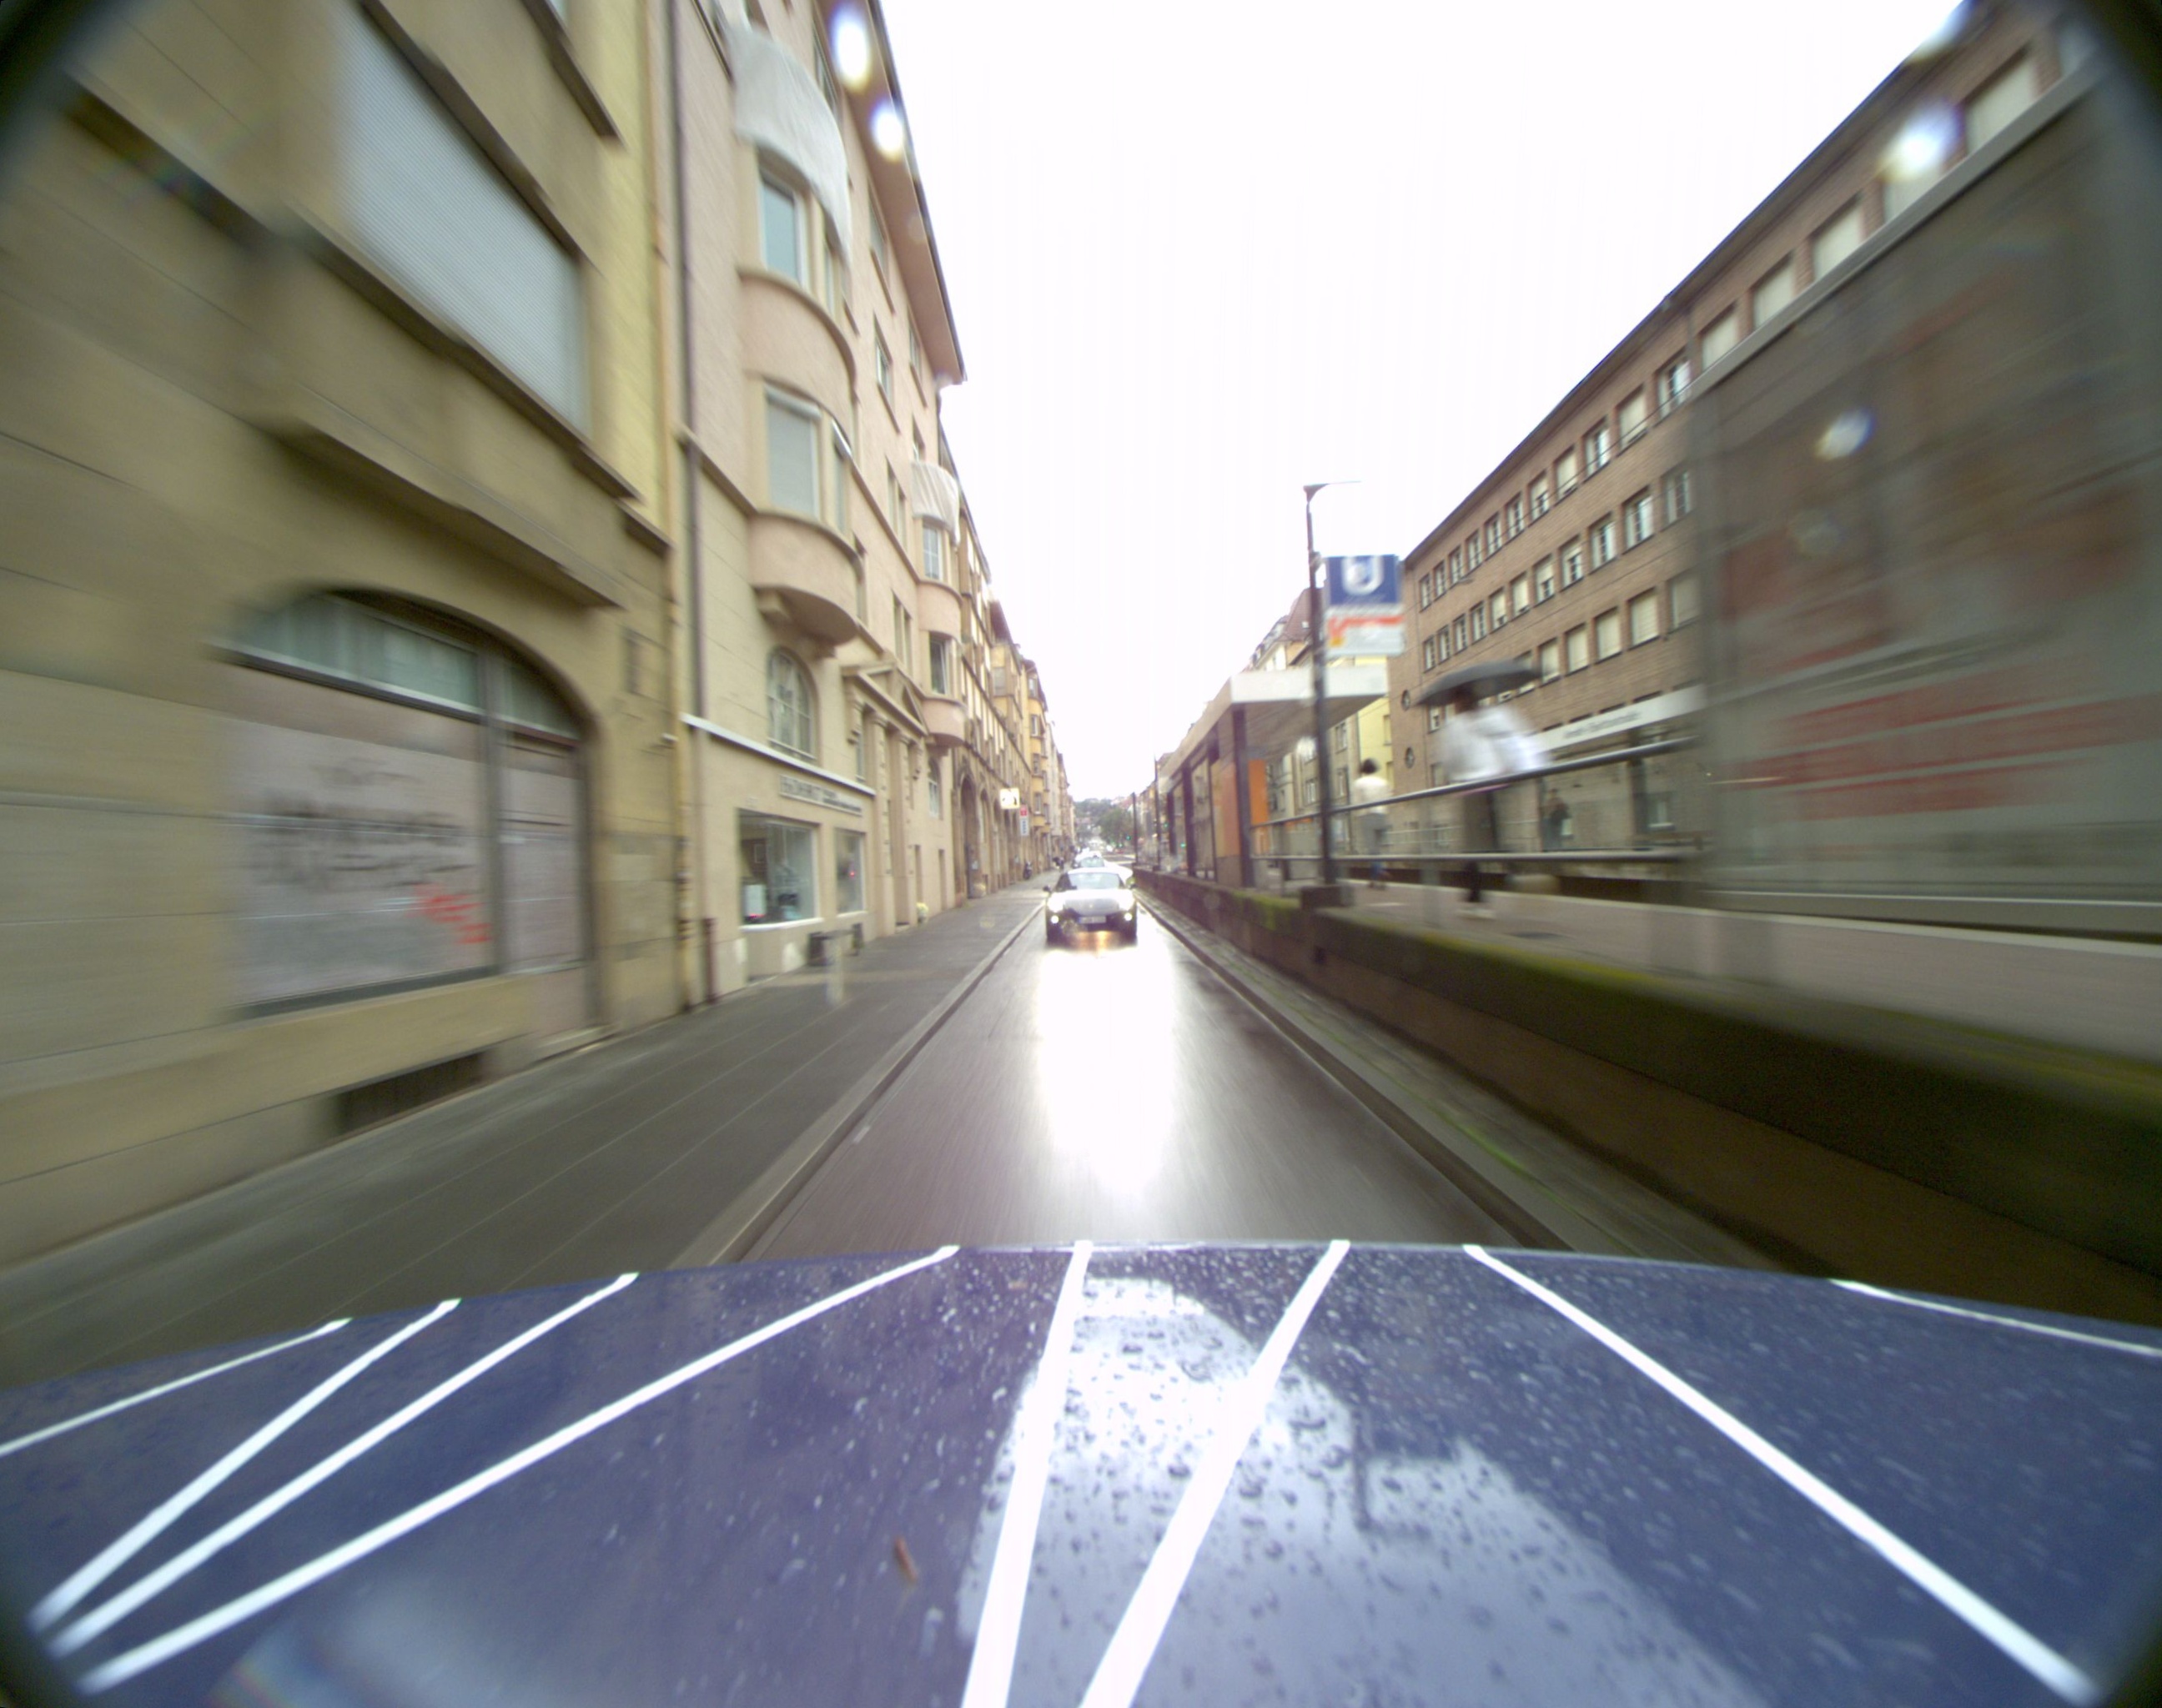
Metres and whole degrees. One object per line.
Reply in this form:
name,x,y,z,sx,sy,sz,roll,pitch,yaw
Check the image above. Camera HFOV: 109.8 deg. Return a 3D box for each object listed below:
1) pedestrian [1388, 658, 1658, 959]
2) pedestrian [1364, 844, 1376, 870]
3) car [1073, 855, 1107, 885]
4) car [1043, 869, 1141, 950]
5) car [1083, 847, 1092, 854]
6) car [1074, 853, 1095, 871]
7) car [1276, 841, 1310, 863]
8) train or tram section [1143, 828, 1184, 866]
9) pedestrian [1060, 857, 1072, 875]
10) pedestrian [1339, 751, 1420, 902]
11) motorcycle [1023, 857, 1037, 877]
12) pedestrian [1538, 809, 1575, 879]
pedestrian,2.902,-0.274,5.156,1.116,1.764,1.111,-3,1,1
pedestrian,18.433,0.198,48.391,0.550,1.644,0.542,-1,1,2
car,0.474,0.803,39.708,1.689,1.451,3.299,-1,0,1
car,0.285,1.045,15.737,1.704,1.280,4.196,-3,0,2
car,1.690,-0.907,195.320,1.998,1.761,4.000,-3,1,3
car,0.364,0.684,68.080,1.633,1.443,4.000,-3,0,2
car,15.376,-0.157,55.329,1.648,1.458,3.111,-3,0,2
train or tram section,9.635,-0.864,91.198,2.721,3.898,19.860,-3,1,0
pedestrian,-1.490,1.204,75.879,1.125,1.703,1.102,-3,1,3
pedestrian,3.678,-0.331,9.413,0.645,1.764,0.710,-3,1,1
motorcycle,-3.322,0.842,49.874,0.692,1.230,1.779,3,0,1
pedestrian,11.763,-0.250,18.806,0.588,1.699,0.491,-1,1,0
